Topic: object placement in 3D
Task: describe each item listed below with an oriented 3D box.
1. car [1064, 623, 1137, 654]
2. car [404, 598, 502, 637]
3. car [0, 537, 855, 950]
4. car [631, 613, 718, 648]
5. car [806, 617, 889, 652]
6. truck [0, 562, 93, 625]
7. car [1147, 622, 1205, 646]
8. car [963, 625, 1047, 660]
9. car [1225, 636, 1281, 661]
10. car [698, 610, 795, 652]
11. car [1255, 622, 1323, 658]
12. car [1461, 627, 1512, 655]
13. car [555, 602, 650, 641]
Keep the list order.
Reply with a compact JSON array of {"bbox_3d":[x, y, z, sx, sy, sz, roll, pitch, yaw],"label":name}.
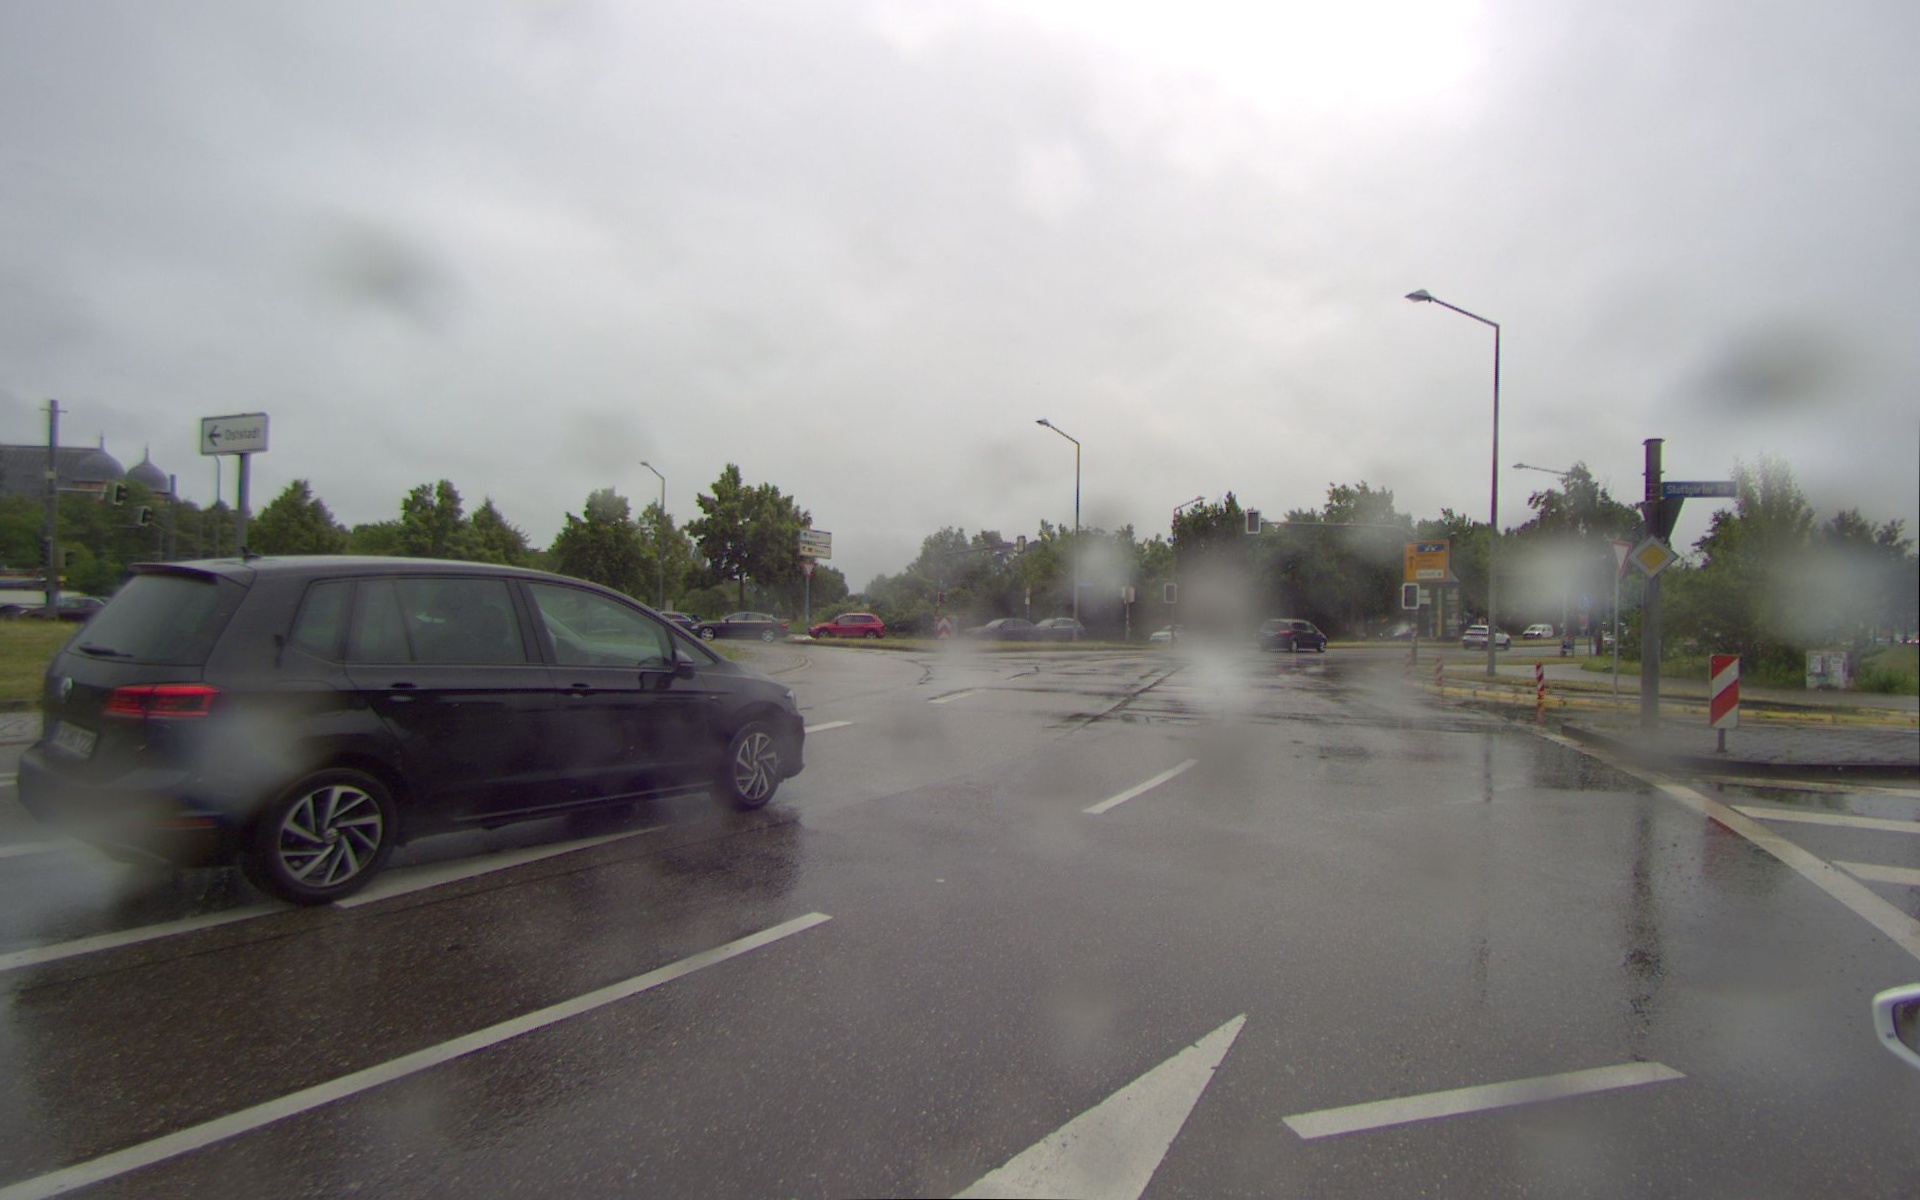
[{"bbox_3d":[8.853,2.440,63.180,4.336,1.669,1.775,4,-1,-29],"label":"car"},{"bbox_3d":[-27.714,0.942,55.015,4.309,1.669,1.789,5,0,0],"label":"car"},{"bbox_3d":[-2.707,0.551,6.028,1.759,1.537,4.319,1,0,34],"label":"car"},{"bbox_3d":[-15.961,1.698,56.324,4.309,1.669,1.789,4,0,-2],"label":"car"},{"bbox_3d":[-6.352,1.926,56.515,4.324,1.669,1.782,4,0,-17],"label":"car"},{"bbox_3d":[-45.968,-0.445,46.359,8.713,2.747,1.980,4,-1,-36],"label":"truck"},{"bbox_3d":[14.626,2.277,67.841,4.217,1.394,1.612,4,-1,-41],"label":"car"},{"bbox_3d":[2.468,2.354,55.157,4.349,1.669,1.772,4,-1,-34],"label":"car"},{"bbox_3d":[22.213,3.691,76.069,3.953,1.669,1.775,4,-1,-30],"label":"car"},{"bbox_3d":[-10.089,1.460,47.596,4.319,1.669,1.784,4,0,-13],"label":"car"},{"bbox_3d":[17.109,2.102,52.138,1.764,1.669,3.977,3,-1,44],"label":"car"},{"bbox_3d":[35.275,2.776,67.264,3.917,1.669,1.666,4,-1,-41],"label":"car"},{"bbox_3d":[-17.952,1.080,50.549,4.068,1.669,1.788,4,0,-4],"label":"car"}]
